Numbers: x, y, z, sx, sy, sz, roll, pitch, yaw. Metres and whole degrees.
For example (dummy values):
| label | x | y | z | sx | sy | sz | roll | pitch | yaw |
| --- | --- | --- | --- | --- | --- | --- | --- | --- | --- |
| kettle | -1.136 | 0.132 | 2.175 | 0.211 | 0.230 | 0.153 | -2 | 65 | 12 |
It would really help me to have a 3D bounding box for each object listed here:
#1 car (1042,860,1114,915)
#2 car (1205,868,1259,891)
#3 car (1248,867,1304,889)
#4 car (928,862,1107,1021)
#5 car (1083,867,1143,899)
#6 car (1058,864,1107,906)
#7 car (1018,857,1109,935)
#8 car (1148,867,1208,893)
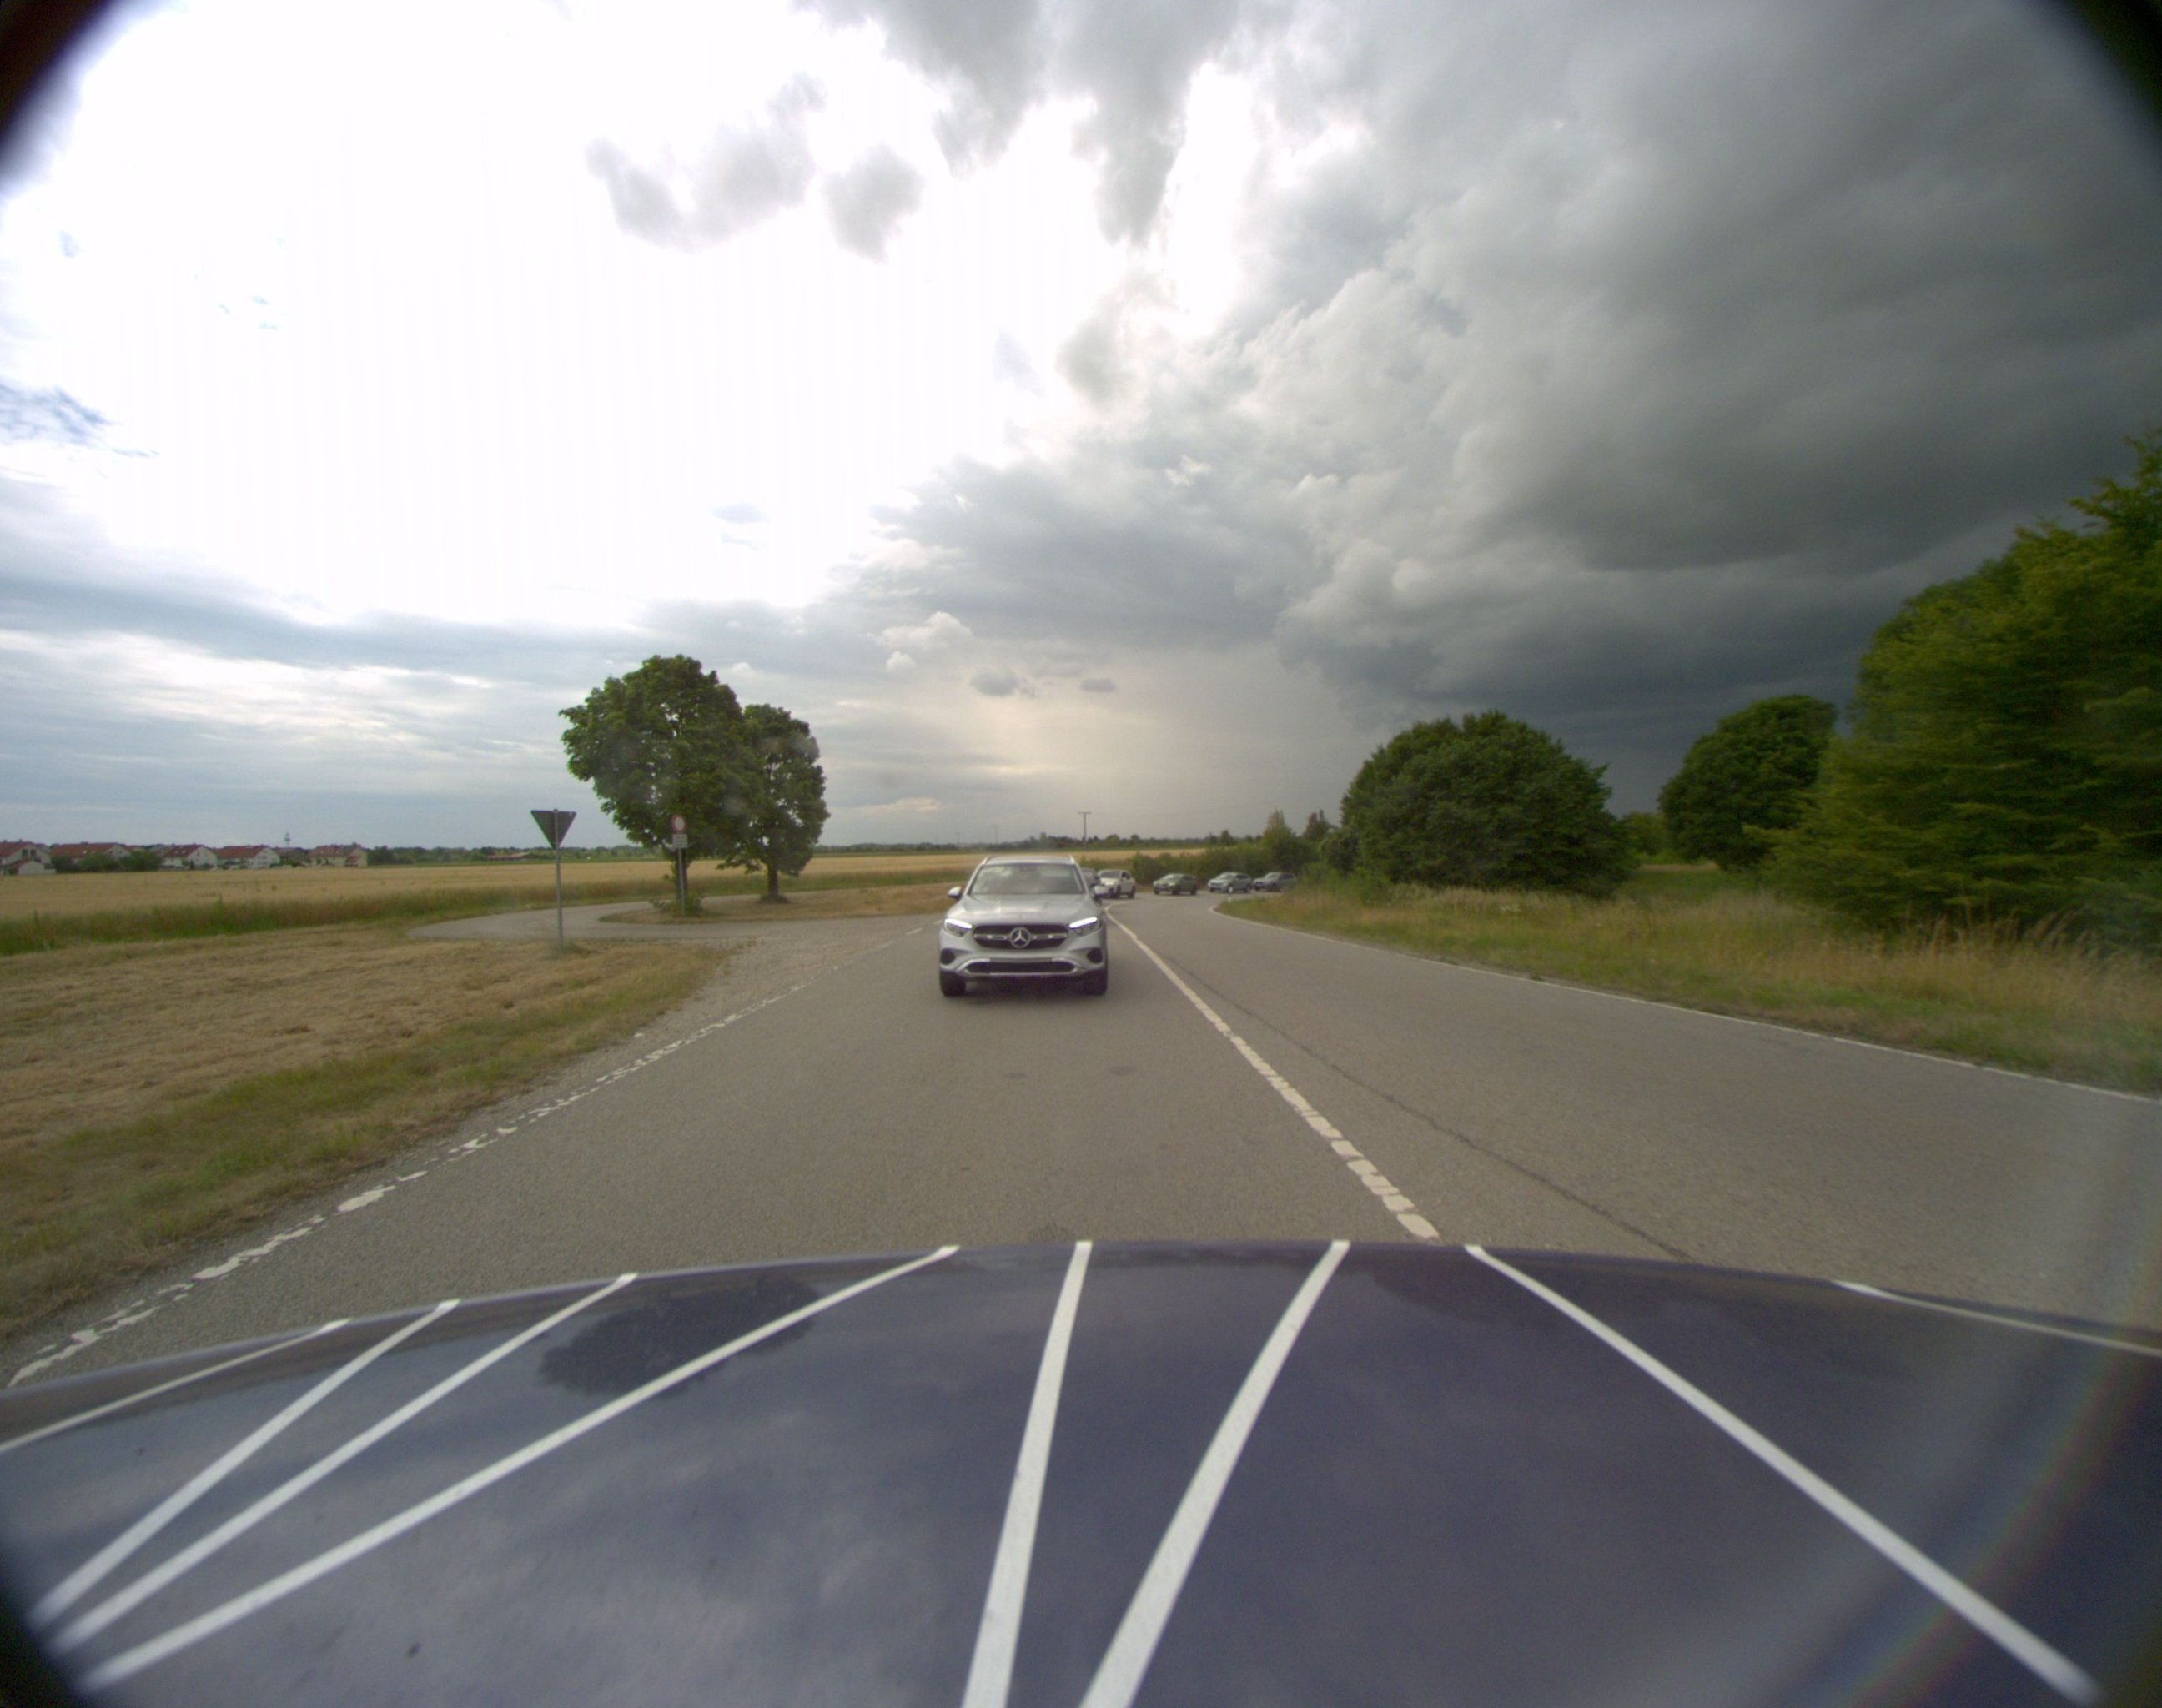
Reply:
| label | x | y | z | sx | sy | sz | roll | pitch | yaw |
| --- | --- | --- | --- | --- | --- | --- | --- | --- | --- |
| car | 0.008 | 1.162 | 27.091 | 1.997 | 1.709 | 5.212 | 2 | -2 | 5 |
| car | 12.447 | 2.066 | 62.307 | 1.994 | 1.709 | 5.221 | 2 | 0 | 40 |
| car | 17.317 | 2.115 | 67.344 | 5.218 | 1.710 | 1.994 | -1 | 2 | -38 |
| car | -0.689 | 0.930 | 10.082 | 1.836 | 1.577 | 4.449 | 0 | 0 | -1 |
| car | 1.984 | 1.646 | 45.193 | 1.995 | 1.709 | 5.217 | 2 | 0 | 20 |
| car | 0.135 | 1.378 | 35.655 | 1.998 | 1.709 | 5.210 | 2 | 0 | 3 |
| car | -0.307 | 0.988 | 19.230 | 1.998 | 1.709 | 5.210 | 0 | -1 | 2 |
| car | 7.083 | 1.894 | 55.110 | 1.994 | 1.709 | 5.221 | 2 | 0 | 36 |
